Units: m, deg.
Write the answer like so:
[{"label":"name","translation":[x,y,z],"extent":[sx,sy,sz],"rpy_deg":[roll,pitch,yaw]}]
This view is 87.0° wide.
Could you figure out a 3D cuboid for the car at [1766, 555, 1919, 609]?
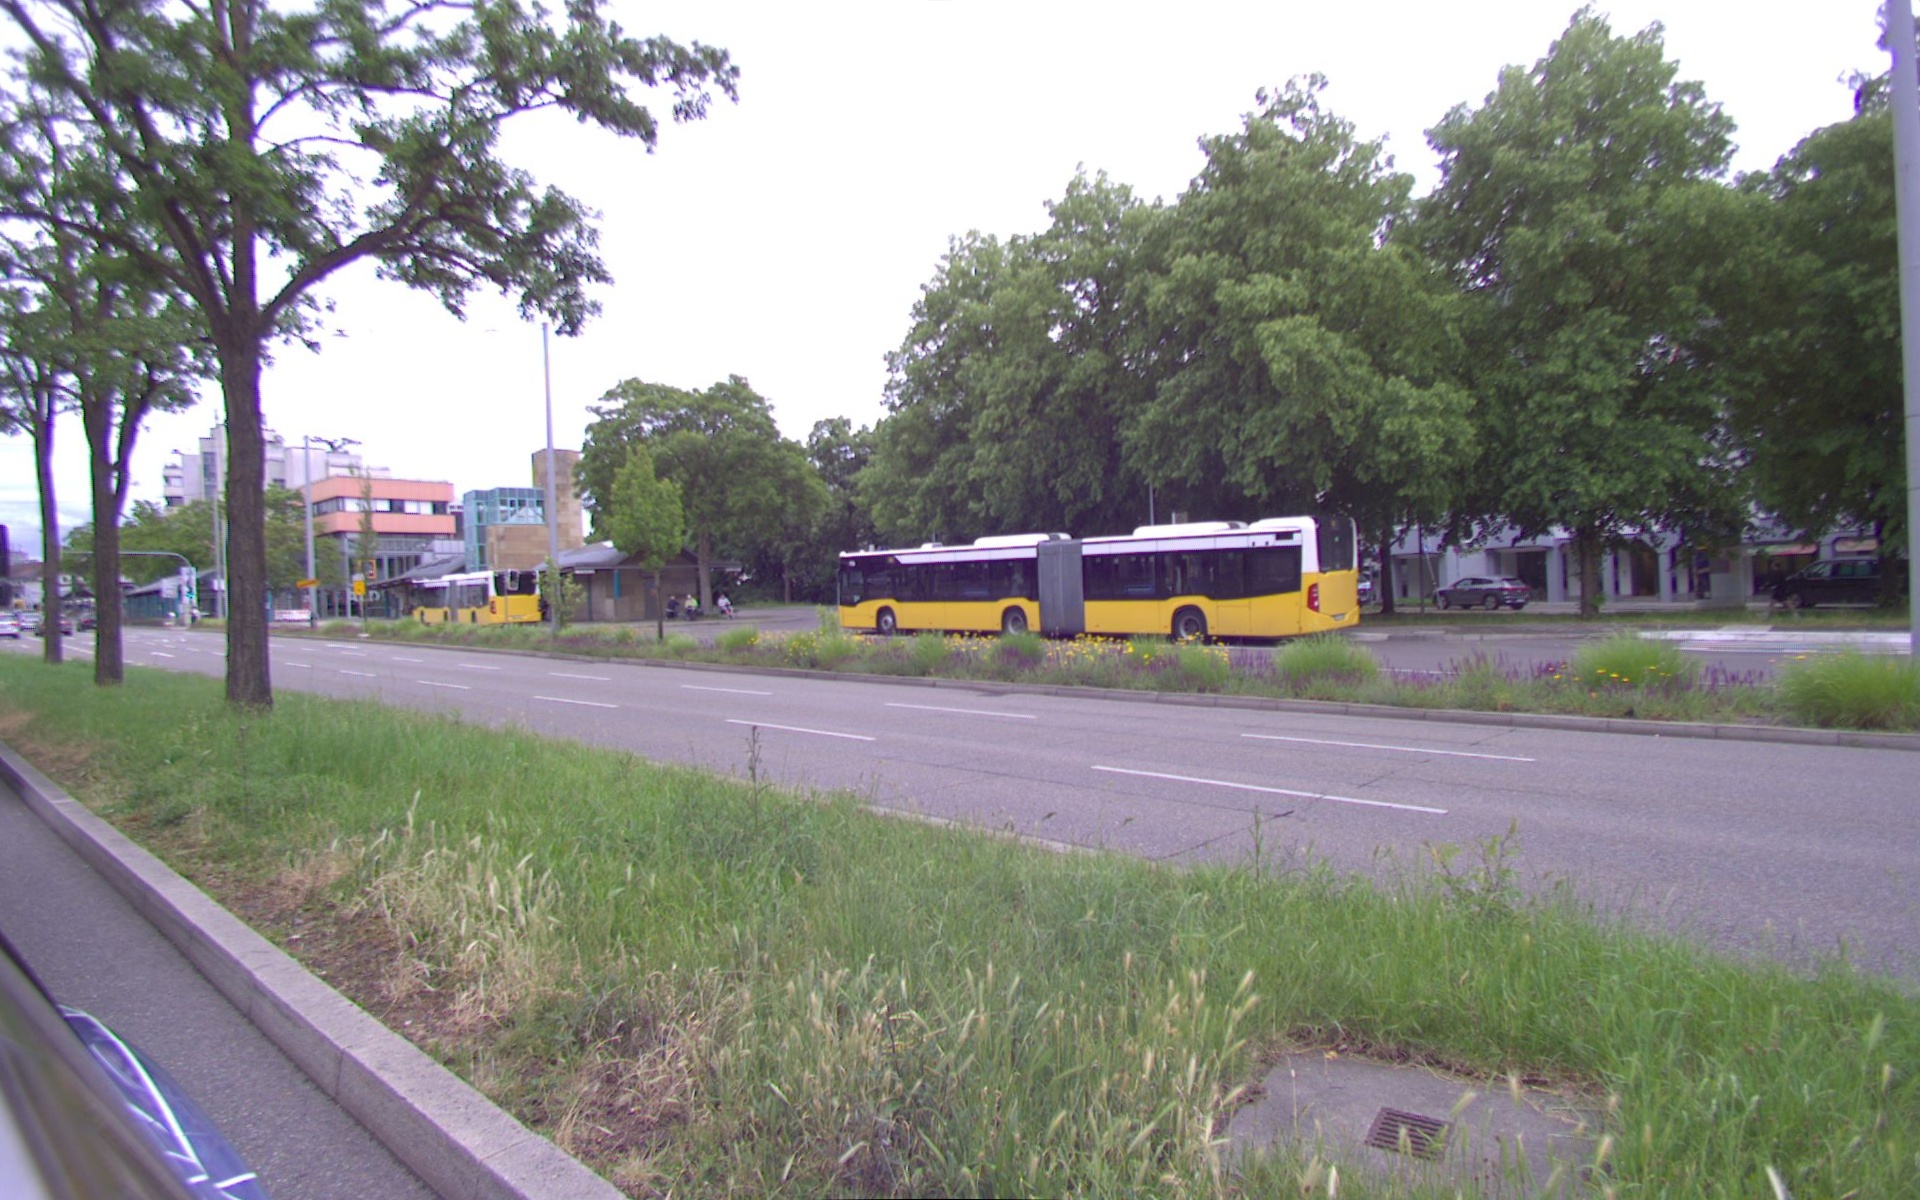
[{"label":"car","translation":[33.142,-0.634,37.791],"extent":[1.758,1.861,4.429],"rpy_deg":[-1,0,-35]}]

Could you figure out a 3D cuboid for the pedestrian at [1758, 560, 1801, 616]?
[{"label":"pedestrian","translation":[23.770,-0.342,29.358],"extent":[0.904,1.569,0.761],"rpy_deg":[-2,0,41]}]

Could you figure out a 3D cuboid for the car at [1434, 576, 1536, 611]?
[{"label":"car","translation":[24.114,-0.277,46.651],"extent":[1.729,1.524,4.013],"rpy_deg":[-1,0,-19]}]

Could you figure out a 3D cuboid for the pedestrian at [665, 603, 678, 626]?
[{"label":"pedestrian","translation":[-14.843,0.731,52.016],"extent":[0.589,1.171,0.745],"rpy_deg":[-1,0,-21]}]

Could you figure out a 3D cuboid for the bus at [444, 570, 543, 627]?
[{"label":"bus","translation":[-25.640,-0.029,55.322],"extent":[2.845,2.830,9.193],"rpy_deg":[-1,0,-38]}]

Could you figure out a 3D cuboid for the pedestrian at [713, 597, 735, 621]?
[{"label":"pedestrian","translation":[-11.905,0.469,51.117],"extent":[0.924,1.180,0.641],"rpy_deg":[-1,0,41]}]

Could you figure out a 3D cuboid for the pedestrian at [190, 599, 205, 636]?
[{"label":"pedestrian","translation":[-58.223,1.312,77.308],"extent":[0.889,2.809,1.150],"rpy_deg":[-1,0,-36]}]

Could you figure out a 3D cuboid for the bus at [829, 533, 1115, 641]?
[{"label":"bus","translation":[0.002,-0.309,33.080],"extent":[2.848,3.025,10.401],"rpy_deg":[-1,0,-44]}]

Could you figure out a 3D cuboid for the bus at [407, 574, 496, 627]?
[{"label":"bus","translation":[-31.361,0.067,62.201],"extent":[2.846,3.025,9.191],"rpy_deg":[-1,0,-39]}]

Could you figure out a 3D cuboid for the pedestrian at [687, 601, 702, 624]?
[{"label":"pedestrian","translation":[-13.254,0.624,50.568],"extent":[0.589,1.171,0.745],"rpy_deg":[-1,0,-23]}]

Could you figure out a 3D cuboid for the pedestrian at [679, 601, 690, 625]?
[{"label":"pedestrian","translation":[-13.724,0.630,50.402],"extent":[0.361,1.175,0.900],"rpy_deg":[-1,0,-23]}]

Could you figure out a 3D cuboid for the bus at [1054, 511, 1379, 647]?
[{"label":"bus","translation":[6.404,-0.427,26.476],"extent":[2.849,3.025,7.889],"rpy_deg":[-1,0,-44]}]

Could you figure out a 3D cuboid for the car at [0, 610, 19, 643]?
[{"label":"car","translation":[-59.972,1.661,63.031],"extent":[4.000,2.029,1.703],"rpy_deg":[-1,0,43]}]
